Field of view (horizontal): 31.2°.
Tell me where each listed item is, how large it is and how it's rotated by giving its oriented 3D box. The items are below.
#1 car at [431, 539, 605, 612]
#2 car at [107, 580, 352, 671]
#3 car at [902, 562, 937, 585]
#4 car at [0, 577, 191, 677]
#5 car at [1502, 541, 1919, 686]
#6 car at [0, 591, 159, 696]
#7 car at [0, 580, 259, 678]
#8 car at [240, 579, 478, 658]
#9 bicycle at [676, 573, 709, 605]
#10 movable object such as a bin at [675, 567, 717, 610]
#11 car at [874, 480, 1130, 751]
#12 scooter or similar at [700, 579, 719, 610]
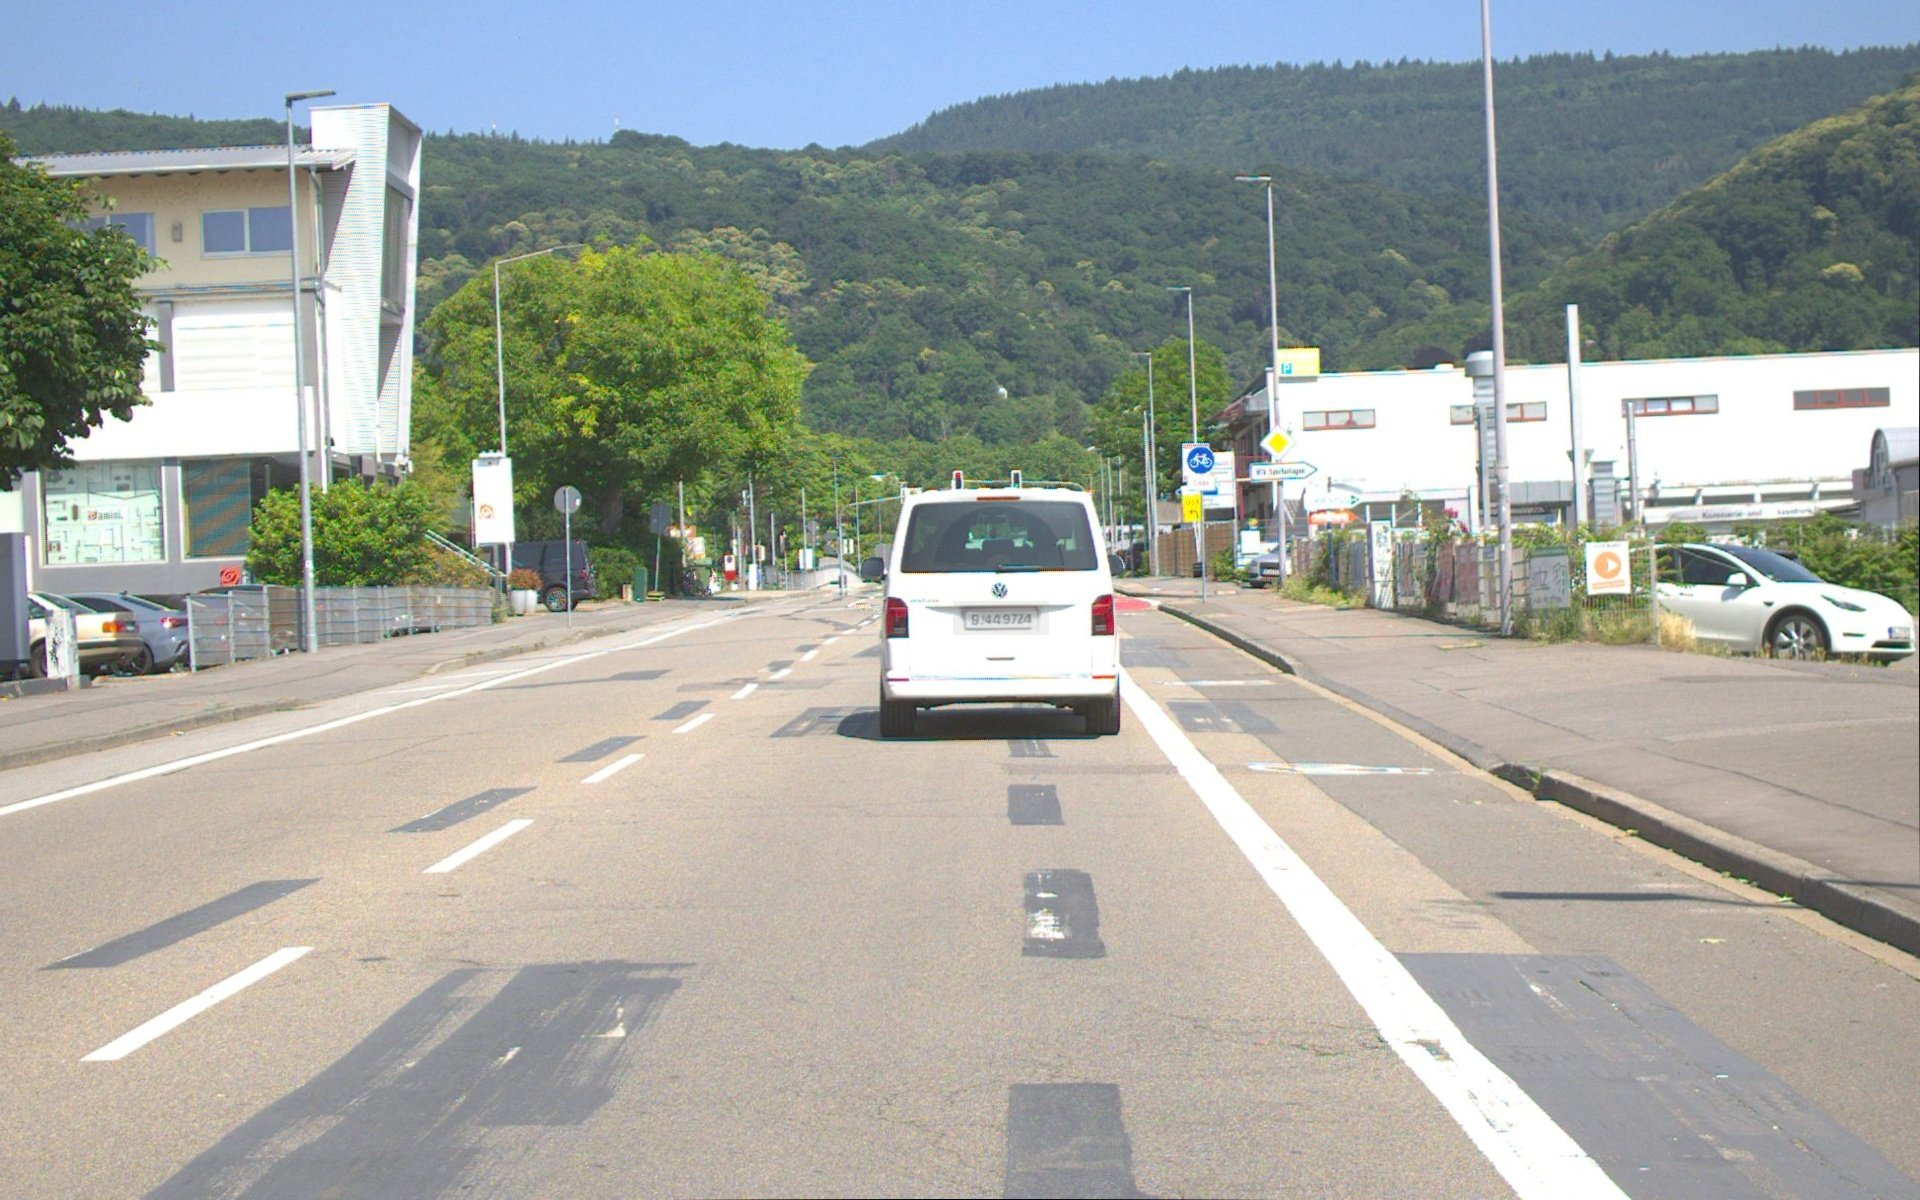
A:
[{"bbox_3d":[-12.047,-0.675,93.955,4.565,1.859,2.093,-1,1,-4],"label":"car"},{"bbox_3d":[-14.013,0.473,66.144,4.296,1.553,1.995,-2,0,-3],"label":"car"},{"bbox_3d":[-2.586,-1.675,218.267,1.993,1.365,4.326,-3,0,1],"label":"car"},{"bbox_3d":[-14.112,0.420,53.736,3.889,1.439,1.823,2,-2,-7],"label":"car"},{"bbox_3d":[9.447,0.203,42.831,5.043,1.616,2.018,-1,-4,44],"label":"car"},{"bbox_3d":[-14.482,0.683,51.393,4.524,1.452,1.900,-2,0,-1],"label":"car"},{"bbox_3d":[-13.653,0.483,56.169,3.987,1.438,1.859,2,-2,-1],"label":"car"},{"bbox_3d":[-12.934,0.386,74.163,4.739,1.476,2.048,-2,1,0],"label":"car"},{"bbox_3d":[-9.476,-0.381,121.917,1.026,1.114,2.766,0,0,-2],"label":"bicycle"},{"bbox_3d":[-10.082,-0.448,131.414,1.448,1.585,1.307,-3,1,-8],"label":"movable object such as a bin"},{"bbox_3d":[0.292,0.102,28.472,1.934,2.052,4.544,1,0,-1],"label":"car"},{"bbox_3d":[-9.151,-0.195,125.583,0.646,1.124,1.623,1,0,-5],"label":"scooter or similar"}]
